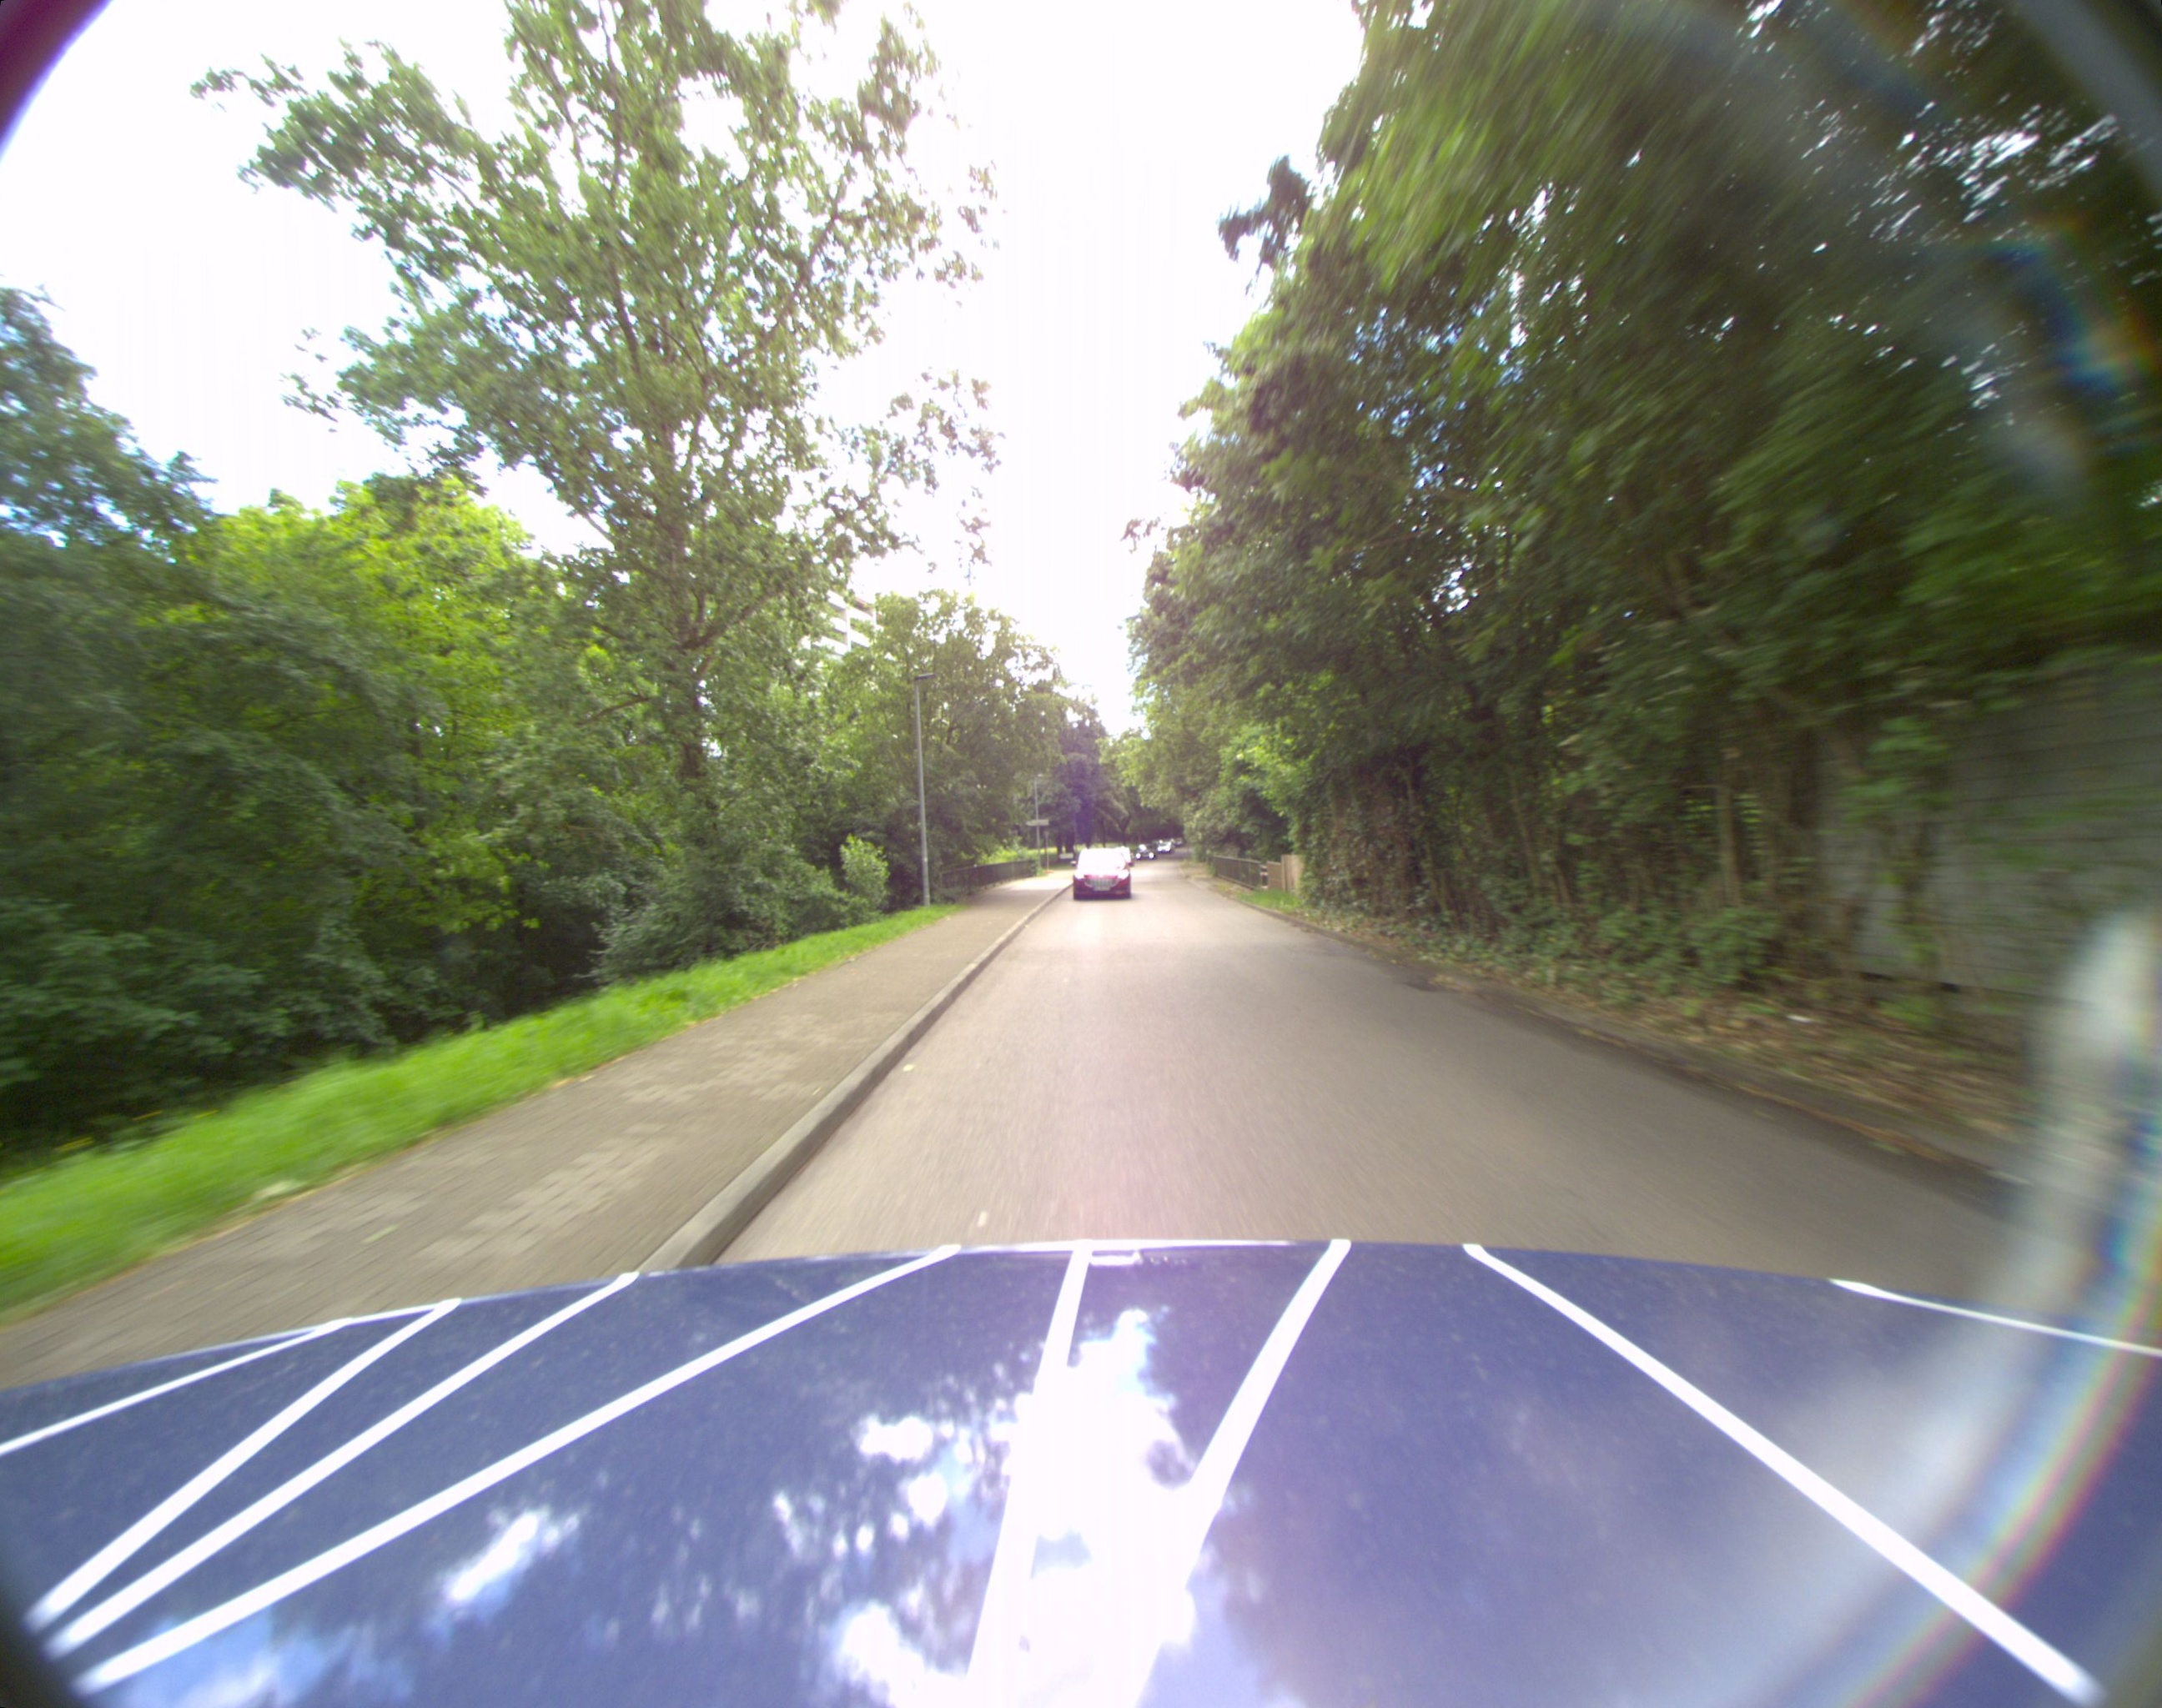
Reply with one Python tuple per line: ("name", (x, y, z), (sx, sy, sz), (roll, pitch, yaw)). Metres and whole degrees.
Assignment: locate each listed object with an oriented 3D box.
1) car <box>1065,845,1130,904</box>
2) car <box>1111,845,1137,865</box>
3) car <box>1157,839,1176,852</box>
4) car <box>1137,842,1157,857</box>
("car", (0.609, 0.597, 24.742), (1.816, 1.717, 4.001), (-1, 1, 5))
("car", (3.678, 0.049, 63.944), (1.998, 1.521, 4.001), (-2, 1, 5))
("car", (10.909, -1.105, 97.012), (1.997, 1.521, 4.003), (-2, 1, 13))
("car", (6.944, -0.505, 79.584), (1.998, 1.521, 4.001), (-2, 1, 5))
